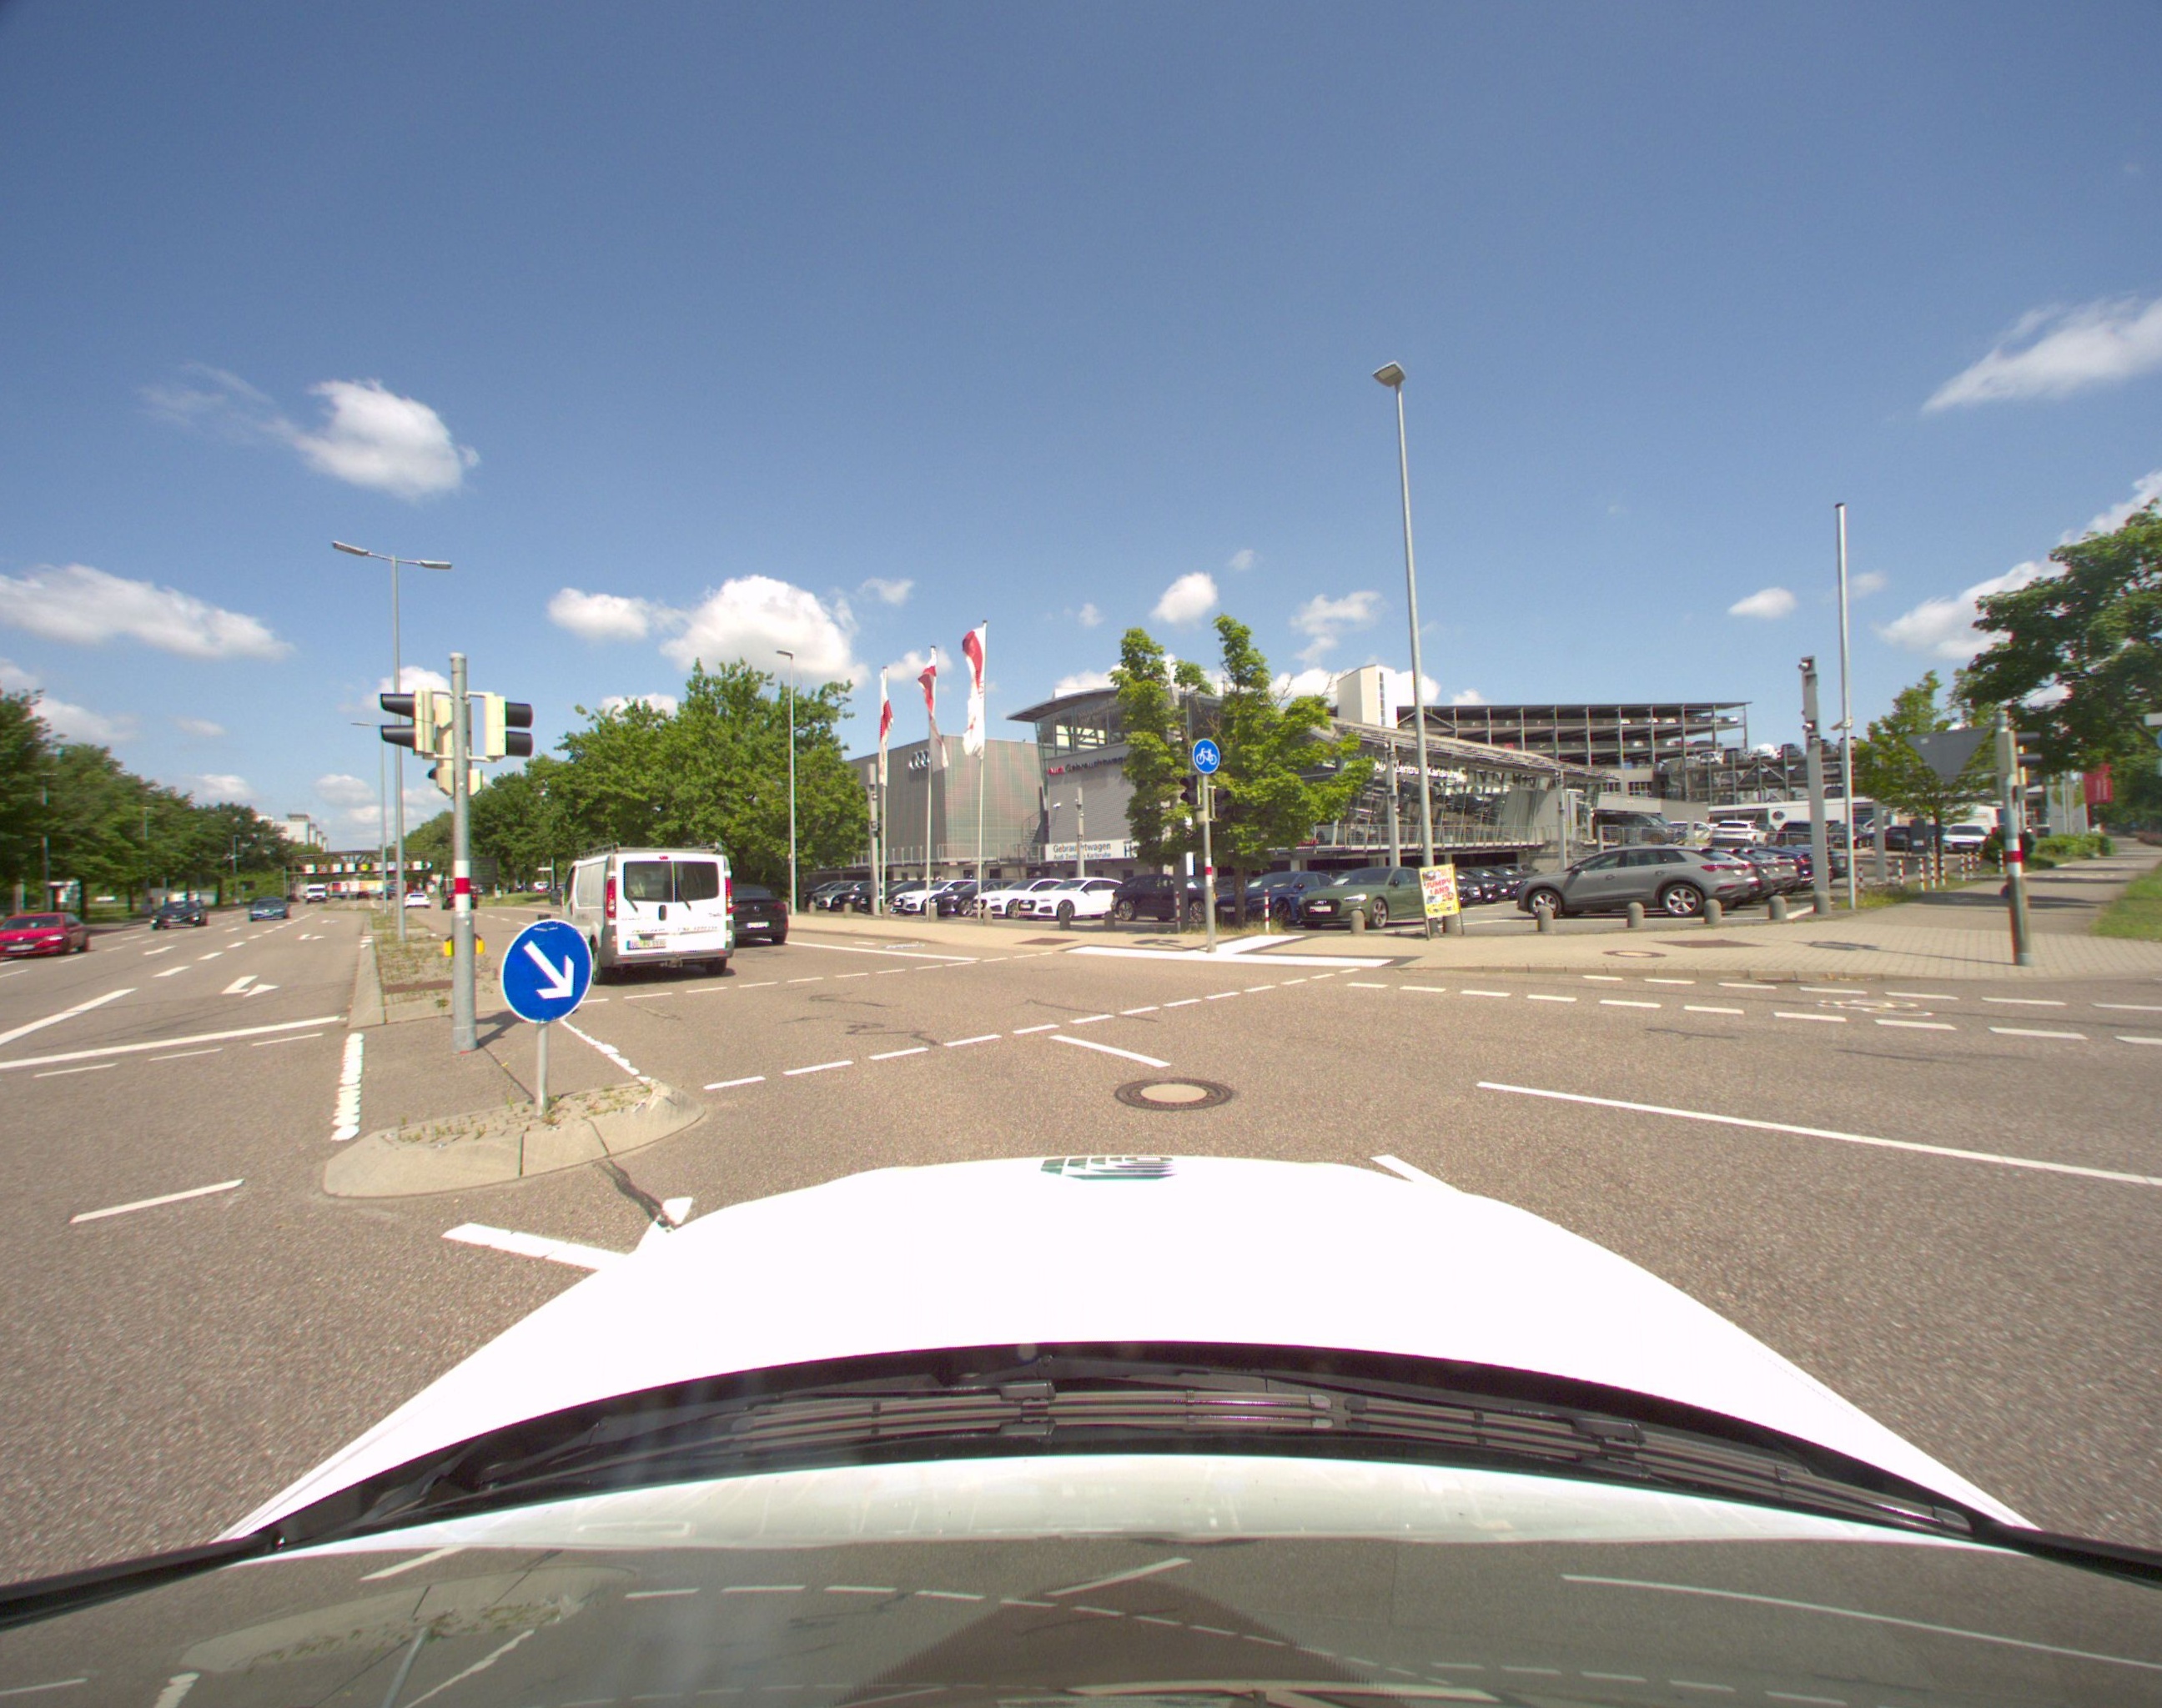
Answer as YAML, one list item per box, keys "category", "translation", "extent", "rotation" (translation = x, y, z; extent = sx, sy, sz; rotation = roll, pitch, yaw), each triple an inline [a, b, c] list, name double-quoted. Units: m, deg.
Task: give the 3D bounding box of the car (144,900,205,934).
- category: "car"
  translation: [-55.329, 3.809, 49.804]
  extent: [1.945, 1.755, 4.762]
  rotation: [-4, 0, -43]

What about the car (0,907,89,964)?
- category: "car"
  translation: [-35.192, 2.690, 27.300]
  extent: [1.859, 1.601, 4.508]
  rotation: [0, -1, -43]

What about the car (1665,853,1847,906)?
- category: "car"
  translation: [22.987, 0.828, 27.892]
  extent: [1.917, 1.678, 4.536]
  rotation: [1, -1, -40]

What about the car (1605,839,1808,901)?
- category: "car"
  translation: [18.650, 0.450, 24.460]
  extent: [1.917, 1.678, 4.536]
  rotation: [1, -1, -40]

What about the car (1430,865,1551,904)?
- category: "car"
  translation: [18.600, 1.340, 37.177]
  extent: [1.917, 1.678, 4.536]
  rotation: [1, -1, -40]

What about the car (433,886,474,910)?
- category: "car"
  translation: [-46.058, 3.190, 59.742]
  extent: [4.215, 1.618, 1.788]
  rotation: [-1, -1, 44]

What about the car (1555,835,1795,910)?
- category: "car"
  translation: [14.747, 0.432, 20.442]
  extent: [1.917, 1.678, 4.536]
  rotation: [1, -1, -40]

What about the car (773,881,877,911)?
- category: "car"
  translation: [-12.763, 2.065, 40.755]
  extent: [4.614, 1.405, 1.884]
  rotation: [2, -2, -42]

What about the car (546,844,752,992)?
- category: "car"
  translation: [-7.396, 0.927, 13.690]
  extent: [1.990, 2.060, 4.509]
  rotation: [0, -1, -43]

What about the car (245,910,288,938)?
- category: "car"
  translation: [-55.044, 4.706, 55.105]
  extent: [1.789, 1.548, 4.762]
  rotation: [-4, 0, -43]

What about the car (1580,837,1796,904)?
- category: "car"
  translation: [16.842, 0.445, 22.809]
  extent: [1.917, 1.678, 4.536]
  rotation: [1, -1, -40]

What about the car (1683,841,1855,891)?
- category: "car"
  translation: [24.923, 0.435, 29.645]
  extent: [1.917, 1.678, 4.536]
  rotation: [1, -1, -40]

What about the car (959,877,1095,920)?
- category: "car"
  translation: [-1.831, 1.510, 28.696]
  extent: [4.614, 1.297, 1.884]
  rotation: [0, -1, -42]

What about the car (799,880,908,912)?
- category: "car"
  translation: [-10.797, 2.029, 38.841]
  extent: [4.613, 1.405, 1.884]
  rotation: [4, -3, -42]

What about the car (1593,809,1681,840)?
- category: "car"
  translation: [36.022, -1.863, 52.870]
  extent: [1.774, 1.801, 4.402]
  rotation: [1, -1, -42]

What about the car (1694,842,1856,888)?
- category: "car"
  translation: [26.960, 0.423, 31.765]
  extent: [1.917, 1.678, 4.536]
  rotation: [1, -1, -40]

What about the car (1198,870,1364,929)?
- category: "car"
  translation: [5.221, 1.088, 20.939]
  extent: [4.614, 1.297, 1.884]
  rotation: [0, -1, -42]

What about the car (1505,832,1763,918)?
- category: "car"
  translation: [12.735, 0.566, 19.017]
  extent: [1.917, 1.678, 4.535]
  rotation: [1, -5, -40]

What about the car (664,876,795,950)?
- category: "car"
  translation: [-8.934, 1.401, 20.543]
  extent: [1.790, 1.629, 3.951]
  rotation: [0, -1, -44]

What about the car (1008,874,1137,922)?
- category: "car"
  translation: [-0.213, 1.459, 26.602]
  extent: [4.021, 1.464, 1.774]
  rotation: [4, -5, -42]

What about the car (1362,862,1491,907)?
- category: "car"
  translation: [14.211, 1.189, 33.701]
  extent: [2.011, 1.740, 4.497]
  rotation: [1, -1, -43]

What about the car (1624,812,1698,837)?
- category: "car"
  translation: [39.993, -1.987, 56.181]
  extent: [3.949, 1.552, 1.776]
  rotation: [-1, -1, 41]

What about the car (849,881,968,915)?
- category: "car"
  translation: [-7.327, 1.911, 34.899]
  extent: [4.613, 1.298, 1.884]
  rotation: [5, -4, -42]

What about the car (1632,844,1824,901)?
- category: "car"
  translation: [20.754, 0.556, 26.286]
  extent: [1.917, 1.678, 4.536]
  rotation: [1, -1, -40]

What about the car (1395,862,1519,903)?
- category: "car"
  translation: [16.401, 1.180, 35.724]
  extent: [1.917, 1.678, 4.536]
  rotation: [1, -1, -40]

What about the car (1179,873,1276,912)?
- category: "car"
  translation: [6.548, 1.671, 36.206]
  extent: [4.384, 1.499, 1.884]
  rotation: [-1, -2, -42]

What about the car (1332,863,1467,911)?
- category: "car"
  translation: [12.434, 1.221, 31.991]
  extent: [2.011, 1.740, 4.497]
  rotation: [1, -1, -43]

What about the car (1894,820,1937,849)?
- category: "car"
  translation: [47.241, -1.058, 46.079]
  extent: [3.622, 1.552, 1.547]
  rotation: [0, -1, -42]

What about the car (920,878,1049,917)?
- category: "car"
  translation: [-3.588, 1.595, 30.777]
  extent: [4.614, 1.297, 1.884]
  rotation: [0, -1, -42]

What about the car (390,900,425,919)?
- category: "car"
  translation: [-59.371, 4.847, 71.780]
  extent: [3.950, 1.442, 1.872]
  rotation: [-1, -1, 43]

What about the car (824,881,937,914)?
- category: "car"
  translation: [-8.992, 1.947, 36.758]
  extent: [4.614, 1.384, 1.884]
  rotation: [3, -2, -42]

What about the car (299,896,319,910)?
- category: "car"
  translation: [-108.212, 6.869, 114.212]
  extent: [1.945, 1.755, 4.762]
  rotation: [0, -2, -42]

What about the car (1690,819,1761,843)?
- category: "car"
  translation: [46.870, -1.641, 59.272]
  extent: [3.949, 1.552, 1.776]
  rotation: [-1, -1, 41]

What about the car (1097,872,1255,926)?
- category: "car"
  translation: [2.740, 1.343, 24.384]
  extent: [1.805, 1.464, 4.698]
  rotation: [4, -5, -42]

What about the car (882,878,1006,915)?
- category: "car"
  translation: [-5.441, 1.647, 32.741]
  extent: [4.614, 1.297, 1.884]
  rotation: [0, -1, -42]

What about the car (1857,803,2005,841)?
- category: "car"
  translation: [52.960, -1.948, 50.911]
  extent: [1.774, 2.102, 6.332]
  rotation: [1, -1, -42]

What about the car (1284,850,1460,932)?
- category: "car"
  translation: [6.847, 0.775, 18.917]
  extent: [4.614, 1.678, 1.884]
  rotation: [0, -1, -42]

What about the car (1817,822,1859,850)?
- category: "car"
  translation: [45.600, -1.048, 49.047]
  extent: [3.622, 1.552, 1.547]
  rotation: [0, -1, -42]

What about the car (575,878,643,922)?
- category: "car"
  translation: [-19.296, 1.821, 33.210]
  extent: [1.786, 1.618, 3.953]
  rotation: [1, -1, -39]

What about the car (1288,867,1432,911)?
- category: "car"
  translation: [10.279, 1.333, 30.291]
  extent: [1.995, 1.511, 4.698]
  rotation: [4, -5, -42]
